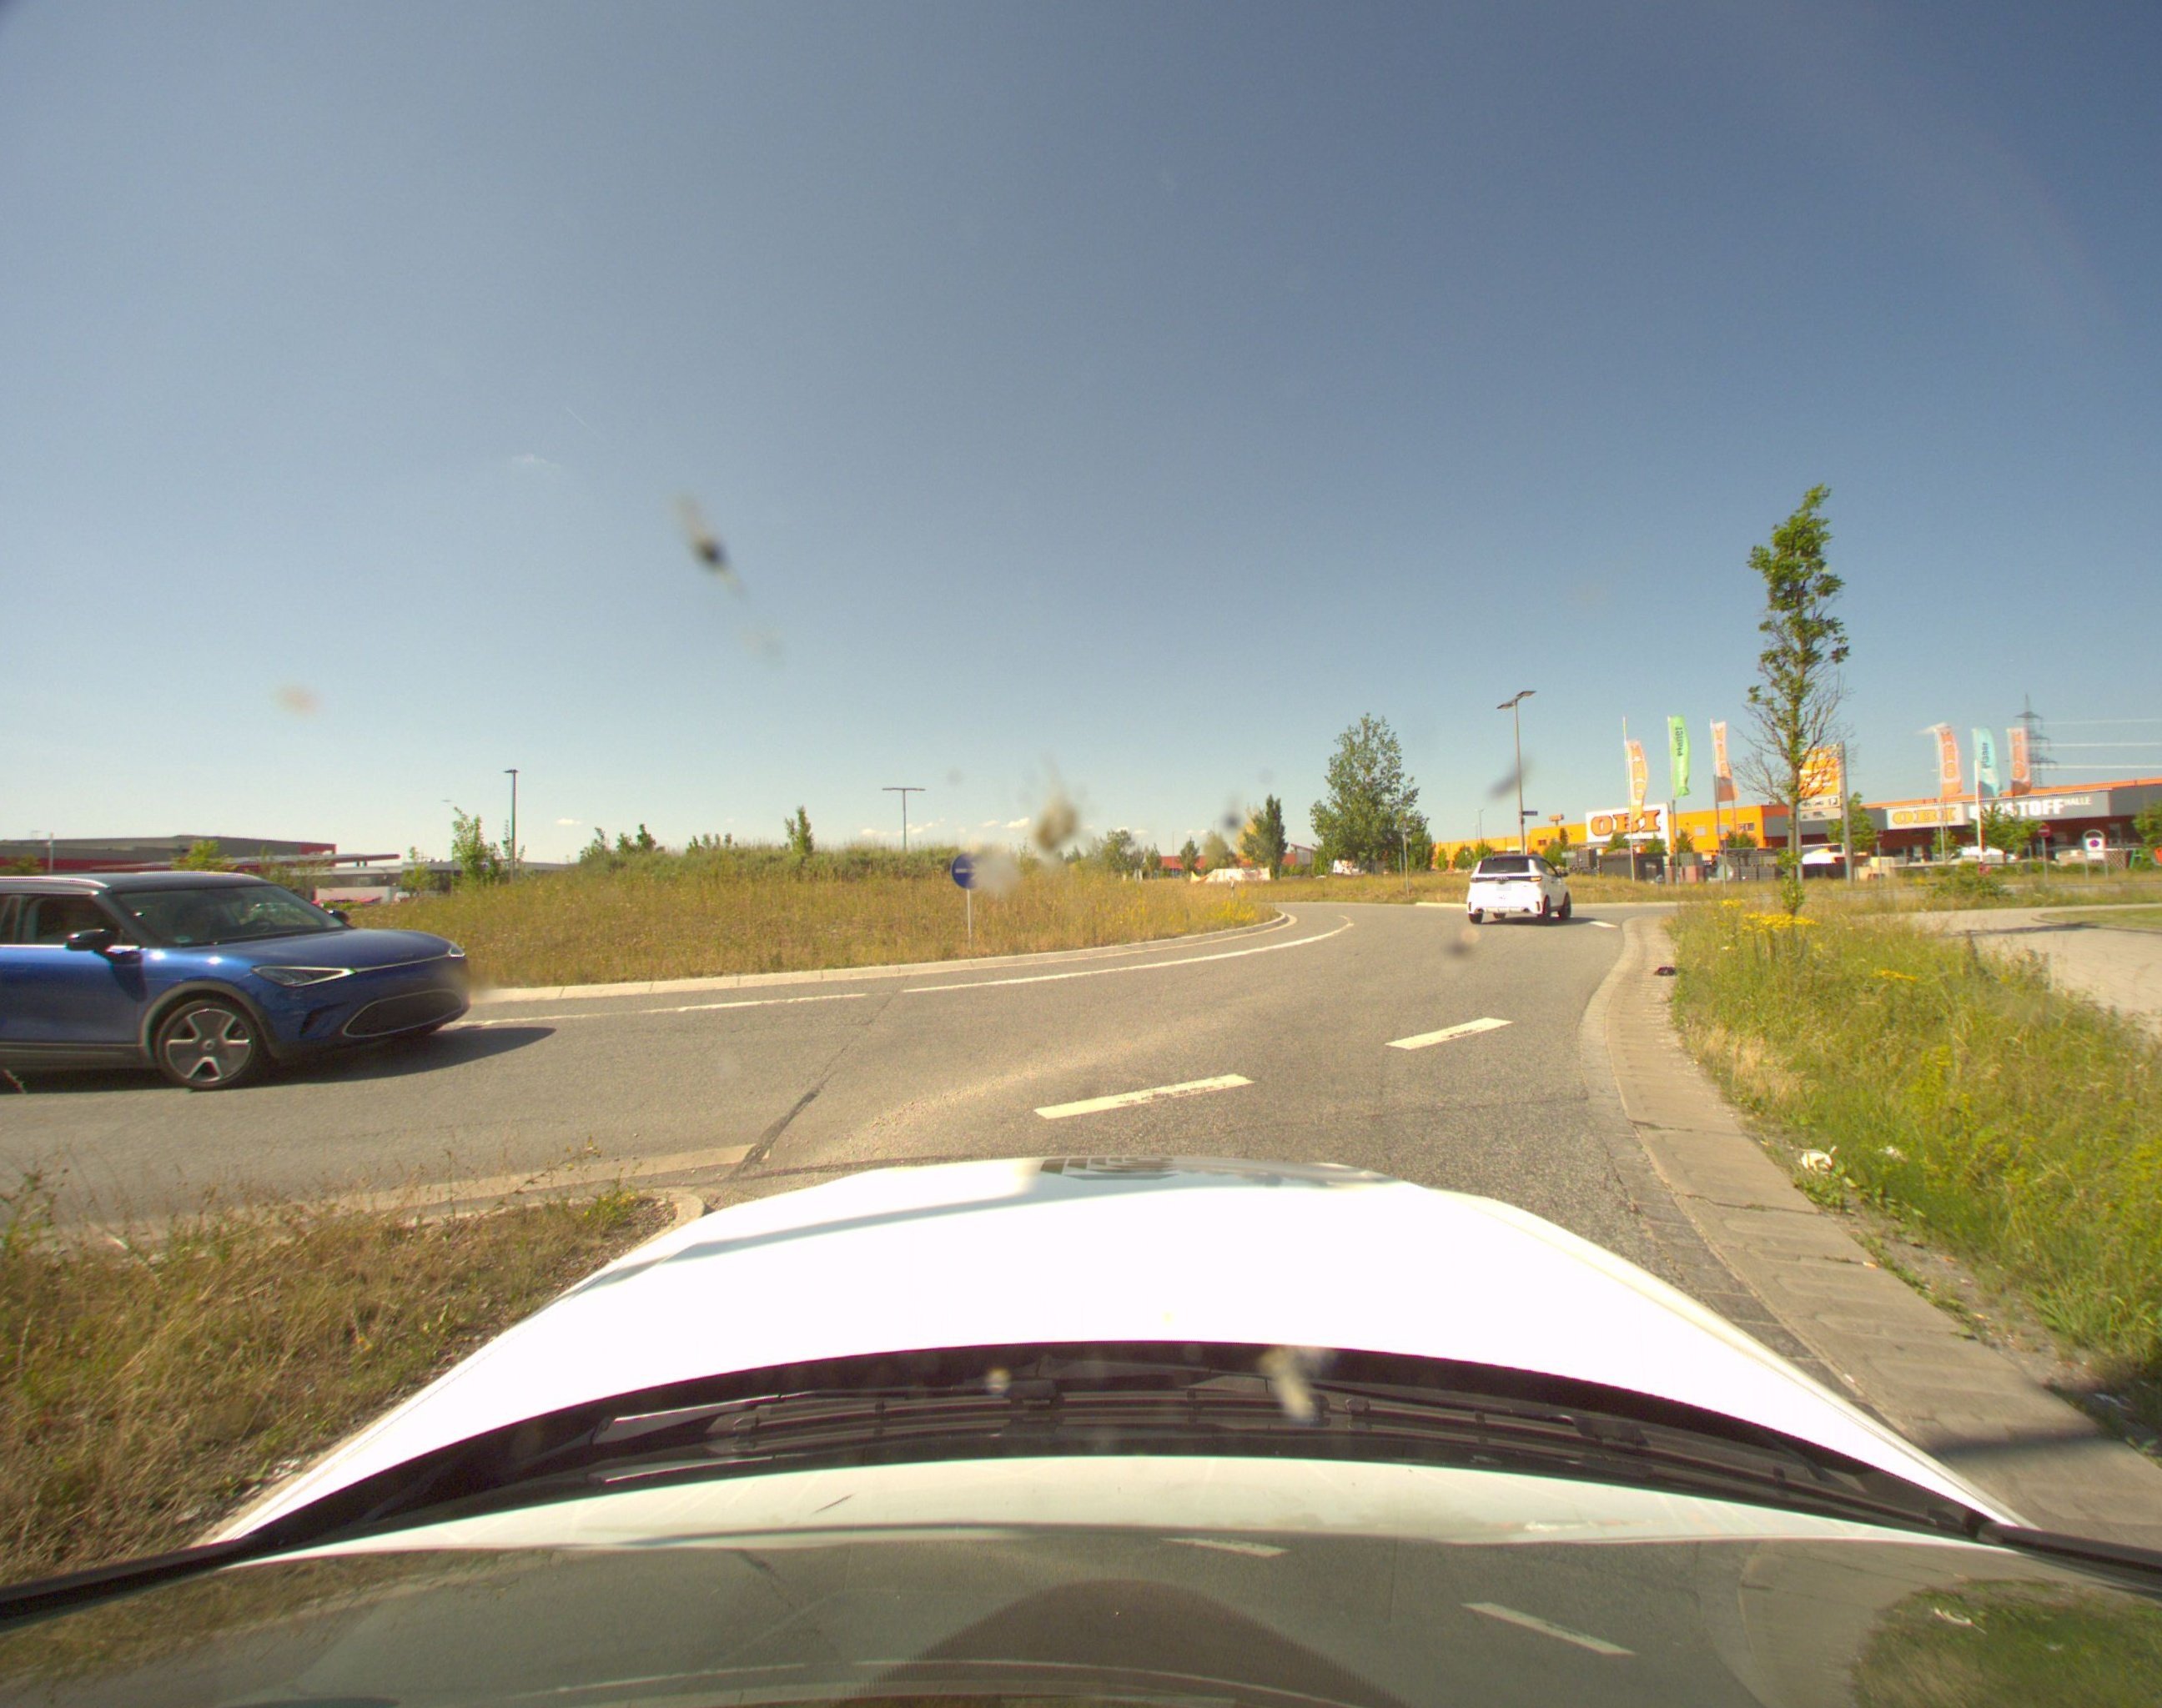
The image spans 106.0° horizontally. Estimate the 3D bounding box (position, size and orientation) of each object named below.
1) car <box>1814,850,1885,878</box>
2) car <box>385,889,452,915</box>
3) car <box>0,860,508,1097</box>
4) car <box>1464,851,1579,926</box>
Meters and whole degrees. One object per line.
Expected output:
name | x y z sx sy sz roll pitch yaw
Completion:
car | 52.504 0.712 55.668 3.764 1.841 1.693 1 -3 -12
car | -55.161 3.971 67.949 1.993 2.014 5.120 -1 -2 -9
car | -7.473 0.933 6.801 4.050 1.635 1.858 -2 0 2
car | 9.733 0.680 17.881 1.495 1.440 3.372 -1 0 41
